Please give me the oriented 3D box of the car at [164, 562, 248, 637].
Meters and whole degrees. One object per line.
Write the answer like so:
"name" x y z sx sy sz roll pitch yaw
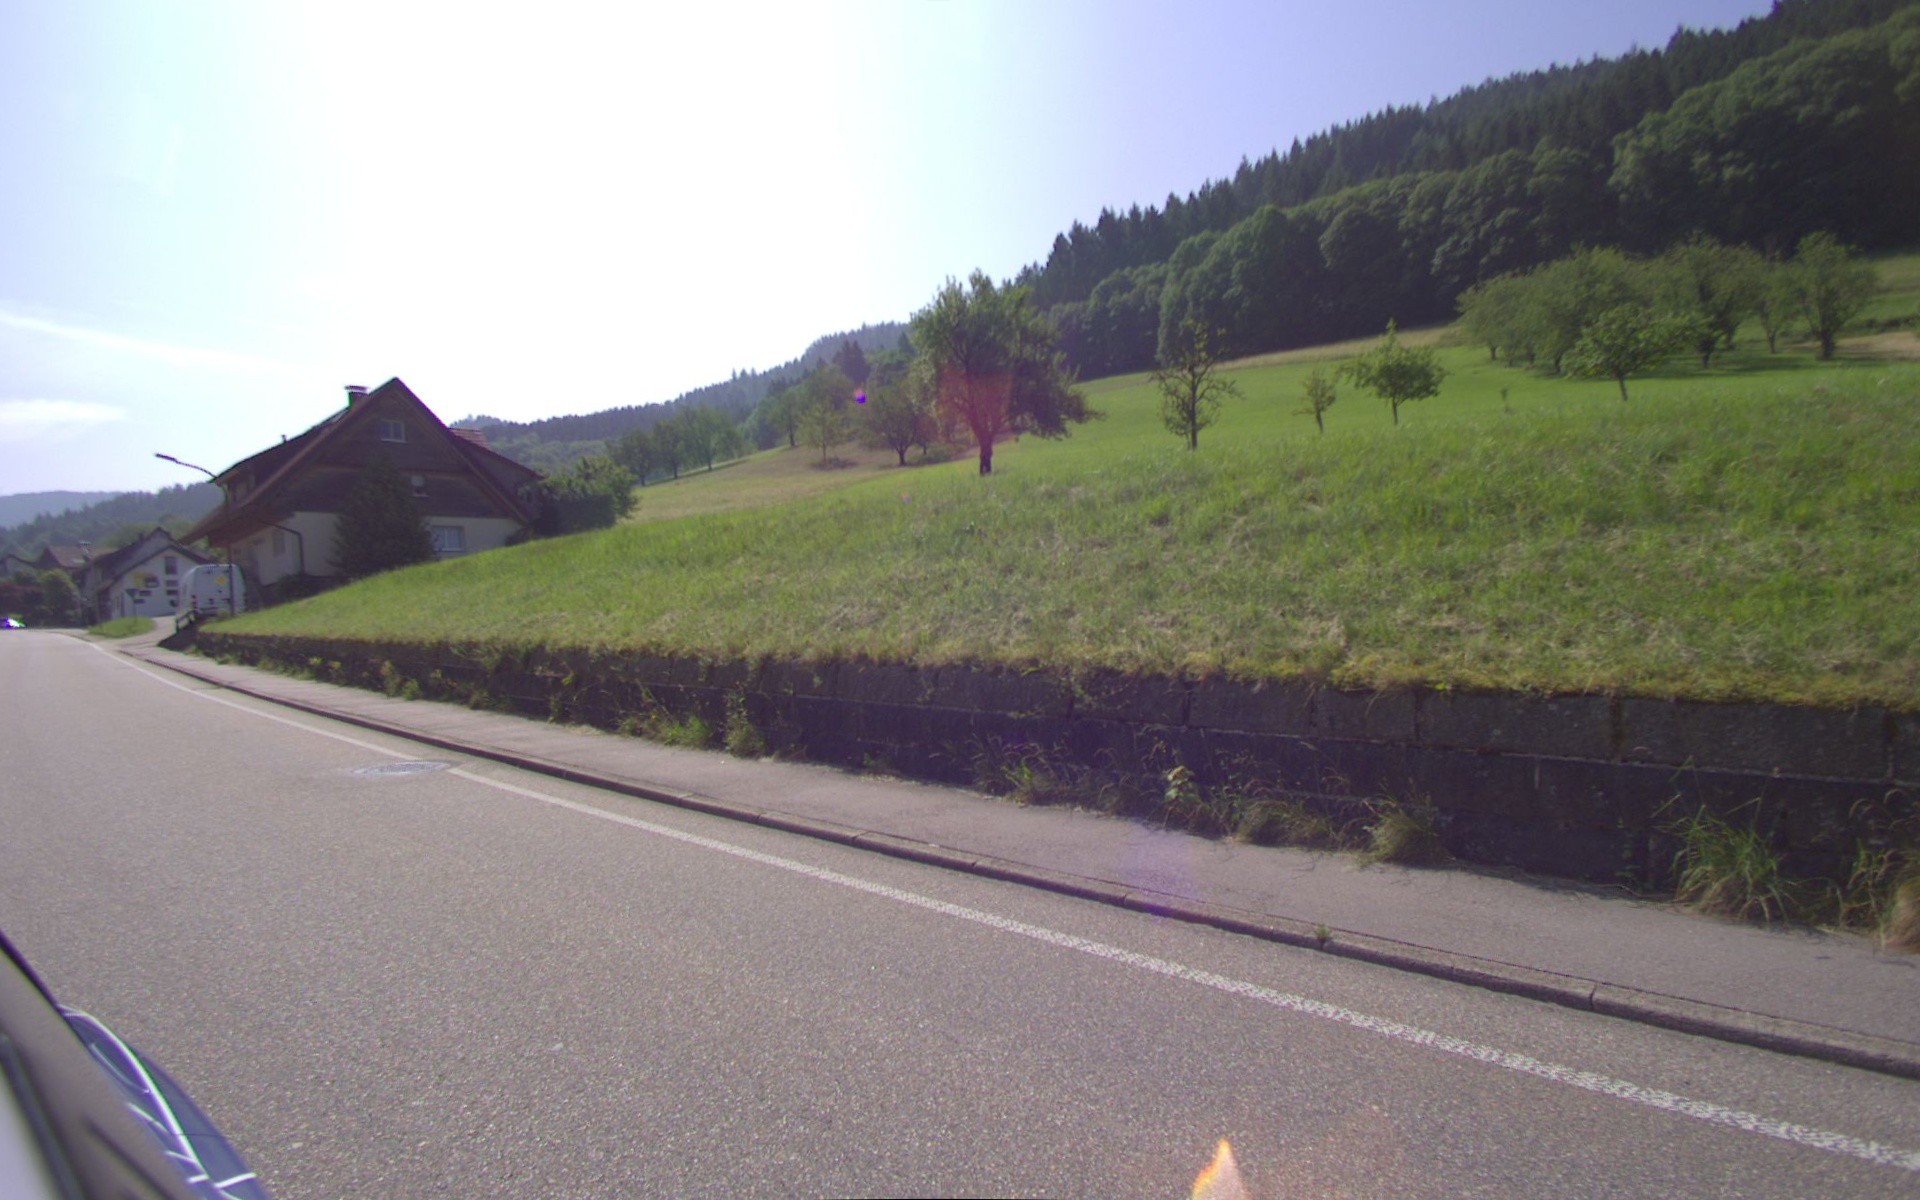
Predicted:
"car" -33.923 0.058 45.410 2.044 2.708 7.179 -5 -1 -43
